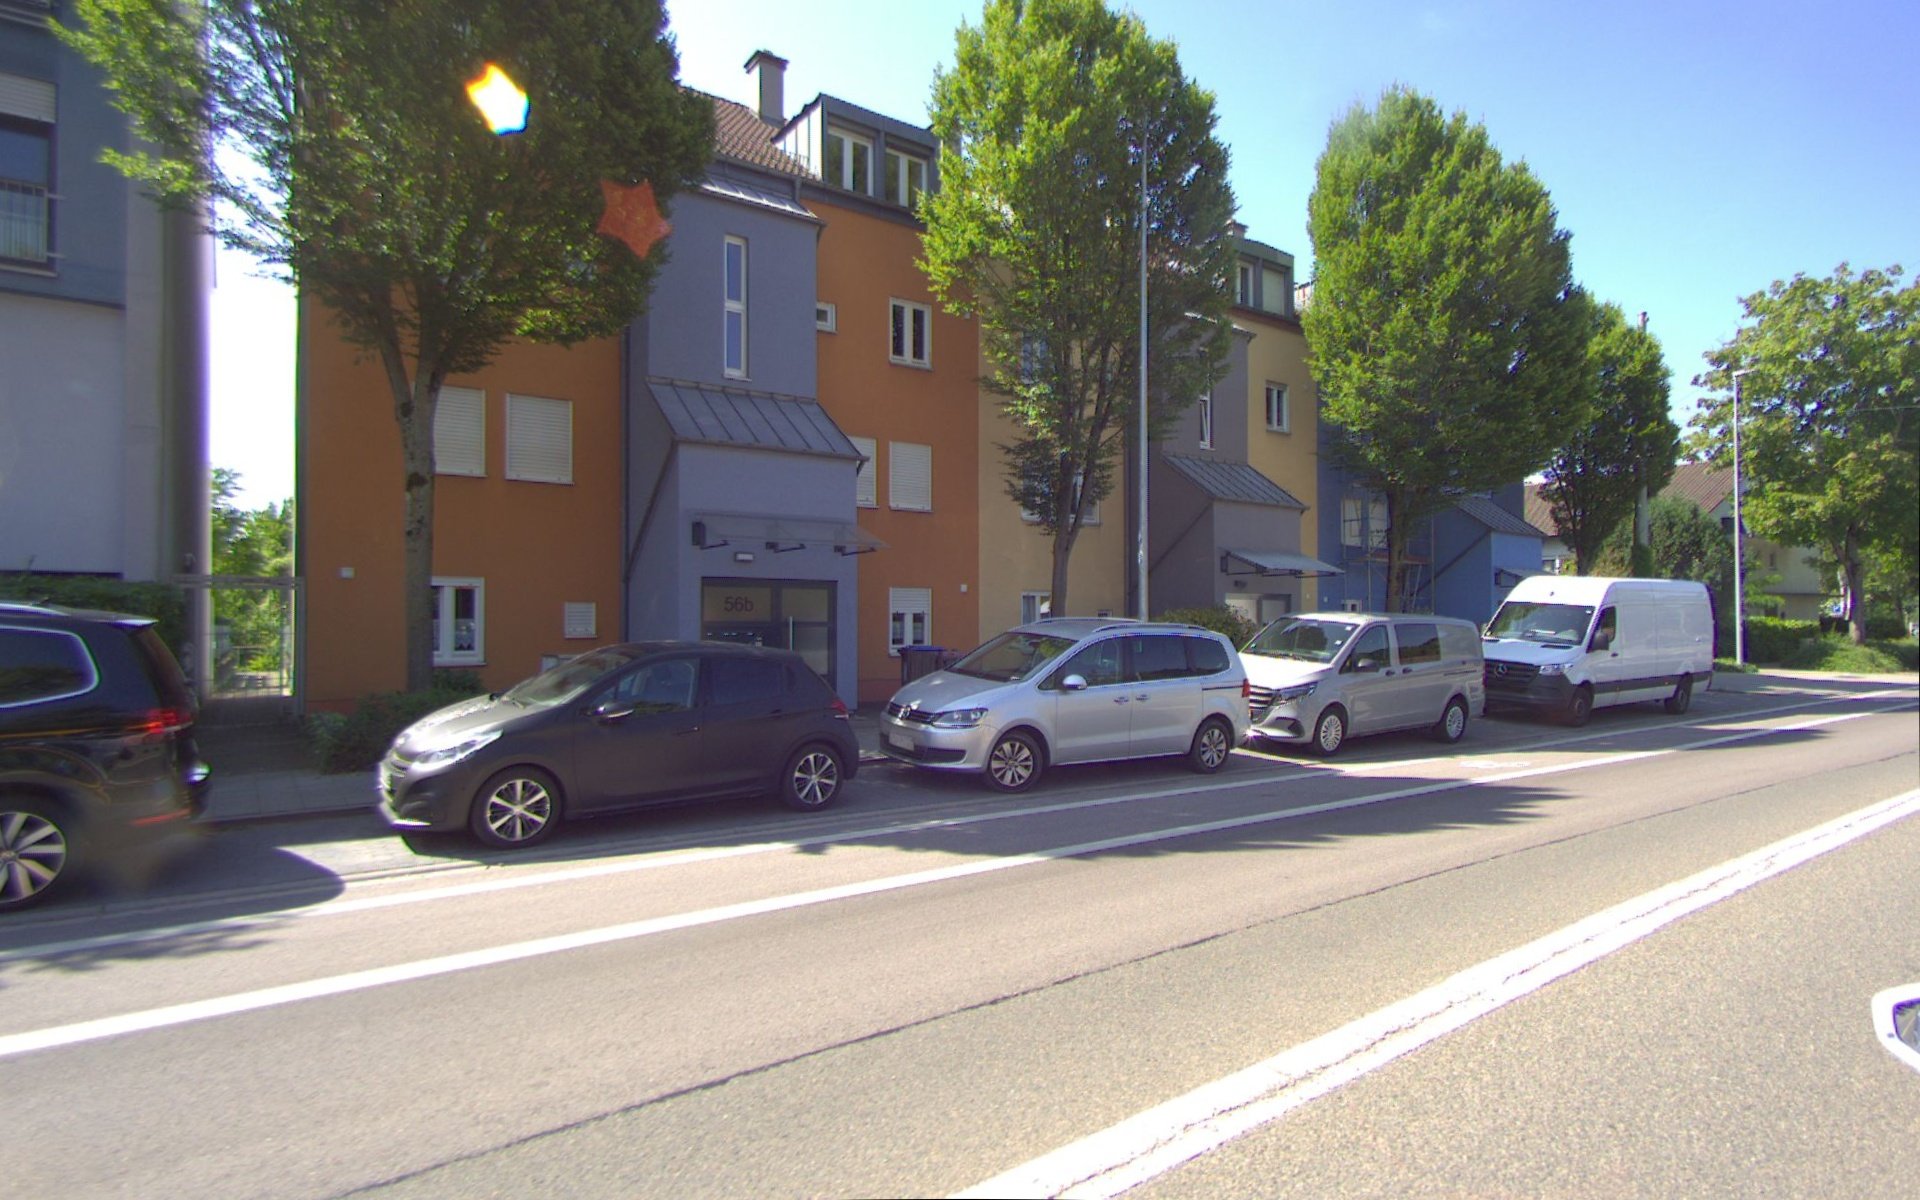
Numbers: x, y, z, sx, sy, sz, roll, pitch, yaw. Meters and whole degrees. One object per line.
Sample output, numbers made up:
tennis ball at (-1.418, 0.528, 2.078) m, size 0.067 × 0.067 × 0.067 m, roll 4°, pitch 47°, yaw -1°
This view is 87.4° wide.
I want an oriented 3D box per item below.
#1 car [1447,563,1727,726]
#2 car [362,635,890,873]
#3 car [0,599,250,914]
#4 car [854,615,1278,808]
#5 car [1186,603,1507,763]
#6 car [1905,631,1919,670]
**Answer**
car at (12.500, 0.793, 19.763) m, size 7.084 × 2.750 × 1.981 m, roll 1°, pitch 1°, yaw -35°
car at (-2.746, 1.111, 8.705) m, size 4.012 × 1.494 × 1.677 m, roll 1°, pitch 1°, yaw -38°
car at (-6.909, 0.859, 5.475) m, size 4.831 × 1.746 × 1.754 m, roll 1°, pitch 0°, yaw -41°
car at (1.360, 1.099, 11.586) m, size 4.860 × 1.748 × 1.788 m, roll 1°, pitch 1°, yaw -35°
car at (5.935, 1.112, 15.104) m, size 5.302 × 1.974 × 1.906 m, roll 1°, pitch 1°, yaw -36°
car at (37.178, 1.882, 37.602) m, size 3.956 × 1.435 × 1.690 m, roll 1°, pitch -2°, yaw -32°
